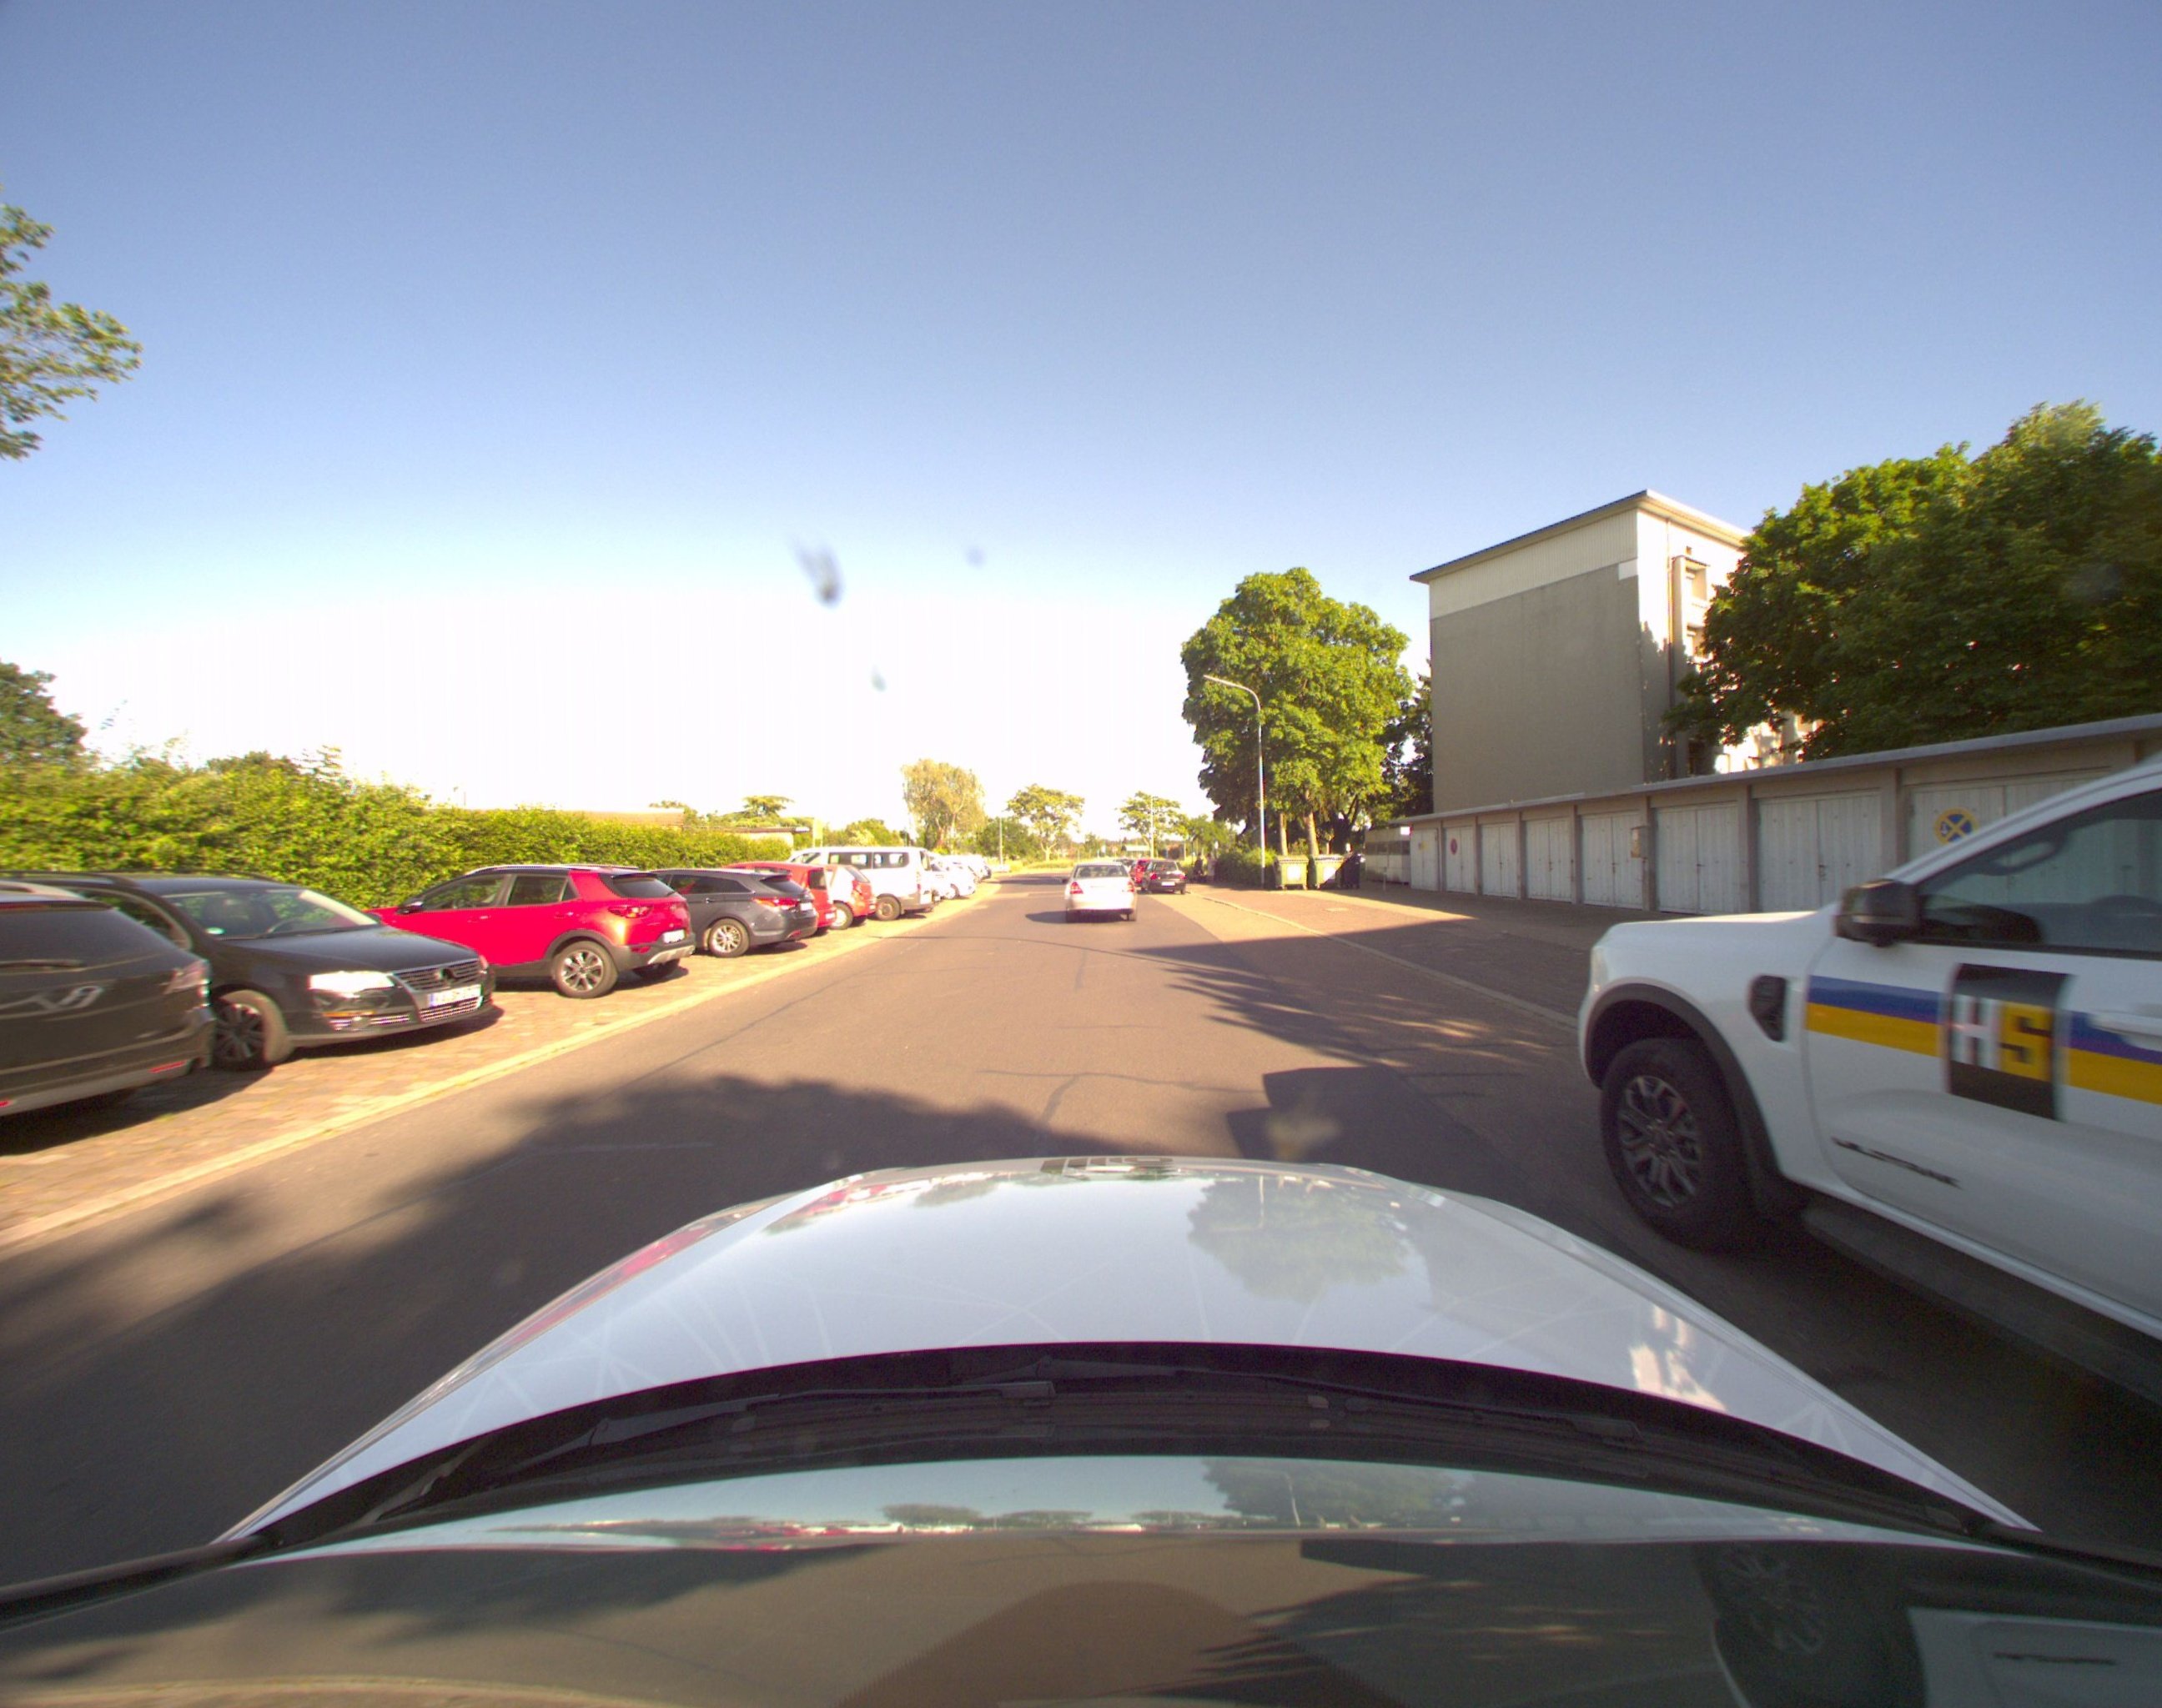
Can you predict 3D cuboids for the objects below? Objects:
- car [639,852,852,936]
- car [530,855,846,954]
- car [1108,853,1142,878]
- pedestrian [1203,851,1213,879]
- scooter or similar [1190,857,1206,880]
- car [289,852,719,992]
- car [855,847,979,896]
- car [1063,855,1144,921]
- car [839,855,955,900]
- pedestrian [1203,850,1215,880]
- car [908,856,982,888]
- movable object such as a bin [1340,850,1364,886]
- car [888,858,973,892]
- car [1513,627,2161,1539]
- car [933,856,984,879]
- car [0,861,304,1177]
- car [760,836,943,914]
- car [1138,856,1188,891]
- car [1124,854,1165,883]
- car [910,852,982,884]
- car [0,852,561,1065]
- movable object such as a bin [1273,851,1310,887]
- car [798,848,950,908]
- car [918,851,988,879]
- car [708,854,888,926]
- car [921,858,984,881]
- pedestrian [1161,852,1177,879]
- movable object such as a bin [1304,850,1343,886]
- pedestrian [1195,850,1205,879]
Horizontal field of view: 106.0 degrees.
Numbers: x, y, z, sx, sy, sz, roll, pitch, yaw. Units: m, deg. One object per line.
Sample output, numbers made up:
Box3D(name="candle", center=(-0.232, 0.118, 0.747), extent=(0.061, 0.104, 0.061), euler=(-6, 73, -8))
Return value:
Box3D(name="car", center=(-6.870, 0.784, 16.982), extent=(3.589, 1.567, 1.882), euler=(1, 0, 1))
Box3D(name="car", center=(-6.586, 0.818, 14.002), extent=(4.528, 1.479, 1.748), euler=(1, 0, 1))
Box3D(name="car", center=(2.808, 0.755, 52.826), extent=(1.728, 1.543, 3.781), euler=(0, -1, -5))
Box3D(name="pedestrian", center=(7.040, 0.604, 45.098), extent=(0.361, 1.503, 0.500), euler=(-2, -2, -6))
Box3D(name="scooter or similar", center=(6.248, 0.766, 43.484), extent=(0.621, 1.227, 0.904), euler=(-2, -1, -3))
Box3D(name="car", center=(-6.883, 0.762, 10.042), extent=(3.973, 1.479, 1.791), euler=(1, 0, 1))
Box3D(name="car", center=(-6.811, 0.734, 34.237), extent=(4.777, 1.921, 2.079), euler=(1, -1, -3))
Box3D(name="car", center=(0.456, 0.763, 20.477), extent=(1.811, 1.463, 4.358), euler=(0, 0, -1))
Box3D(name="car", center=(-7.036, 0.904, 31.418), extent=(3.973, 1.583, 1.884), euler=(1, -1, 0))
Box3D(name="pedestrian", center=(6.836, 0.573, 43.546), extent=(0.485, 1.565, 0.468), euler=(-2, -2, -7))
Box3D(name="car", center=(-6.893, 0.912, 41.529), extent=(3.503, 1.489, 1.636), euler=(1, -1, -1))
Box3D(name="movable object such as a bin", center=(10.889, 0.570, 32.767), extent=(0.721, 1.416, 0.688), euler=(-1, -1, -2))
Box3D(name="car", center=(-6.805, 0.935, 37.074), extent=(3.503, 1.446, 1.636), euler=(1, -1, -1))
Box3D(name="car", center=(3.139, 0.477, 1.518), extent=(1.900, 1.840, 5.275), euler=(1, 0, 1))
Box3D(name="car", center=(-9.149, 1.026, 61.249), extent=(3.605, 1.607, 1.731), euler=(1, -1, -4))
Box3D(name="car", center=(-7.303, 0.788, 4.534), extent=(4.080, 1.513, 1.812), euler=(1, -1, -1))
Box3D(name="car", center=(-6.268, 0.581, 22.654), extent=(4.464, 1.977, 1.999), euler=(1, -1, -1))
Box3D(name="car", center=(3.526, 0.829, 35.559), extent=(1.643, 1.403, 3.878), euler=(-1, -1, -2))
Box3D(name="car", center=(3.288, 0.768, 43.042), extent=(1.573, 1.446, 3.781), euler=(0, -1, -5))
Box3D(name="car", center=(-7.701, 0.782, 46.771), extent=(3.973, 1.780, 1.921), euler=(0, 0, -7))
Box3D(name="car", center=(-7.201, 0.788, 7.176), extent=(3.999, 1.513, 1.908), euler=(1, -1, 5))
Box3D(name="movable object such as a bin", center=(8.492, 0.599, 32.858), extent=(1.234, 1.403, 0.914), euler=(-1, -1, -2))
Box3D(name="car", center=(-6.294, 0.736, 25.165), extent=(4.137, 1.706, 1.884), euler=(1, -1, 0))
Box3D(name="car", center=(-9.146, 0.774, 58.447), extent=(4.869, 1.915, 1.994), euler=(0, -1, -8))
Box3D(name="car", center=(-6.687, 0.818, 19.543), extent=(3.589, 1.567, 1.852), euler=(1, 0, 1))
Box3D(name="car", center=(-8.815, 1.090, 56.078), extent=(4.130, 1.492, 1.922), euler=(1, -1, -5))
Box3D(name="pedestrian", center=(5.100, 0.665, 47.259), extent=(0.786, 1.565, 0.569), euler=(1, -1, -4))
Box3D(name="movable object such as a bin", center=(9.802, 0.574, 32.912), extent=(1.271, 1.416, 0.950), euler=(-1, -1, -2))
Box3D(name="pedestrian", center=(6.530, 0.557, 44.651), extent=(0.479, 1.565, 0.598), euler=(-2, -2, 7))
